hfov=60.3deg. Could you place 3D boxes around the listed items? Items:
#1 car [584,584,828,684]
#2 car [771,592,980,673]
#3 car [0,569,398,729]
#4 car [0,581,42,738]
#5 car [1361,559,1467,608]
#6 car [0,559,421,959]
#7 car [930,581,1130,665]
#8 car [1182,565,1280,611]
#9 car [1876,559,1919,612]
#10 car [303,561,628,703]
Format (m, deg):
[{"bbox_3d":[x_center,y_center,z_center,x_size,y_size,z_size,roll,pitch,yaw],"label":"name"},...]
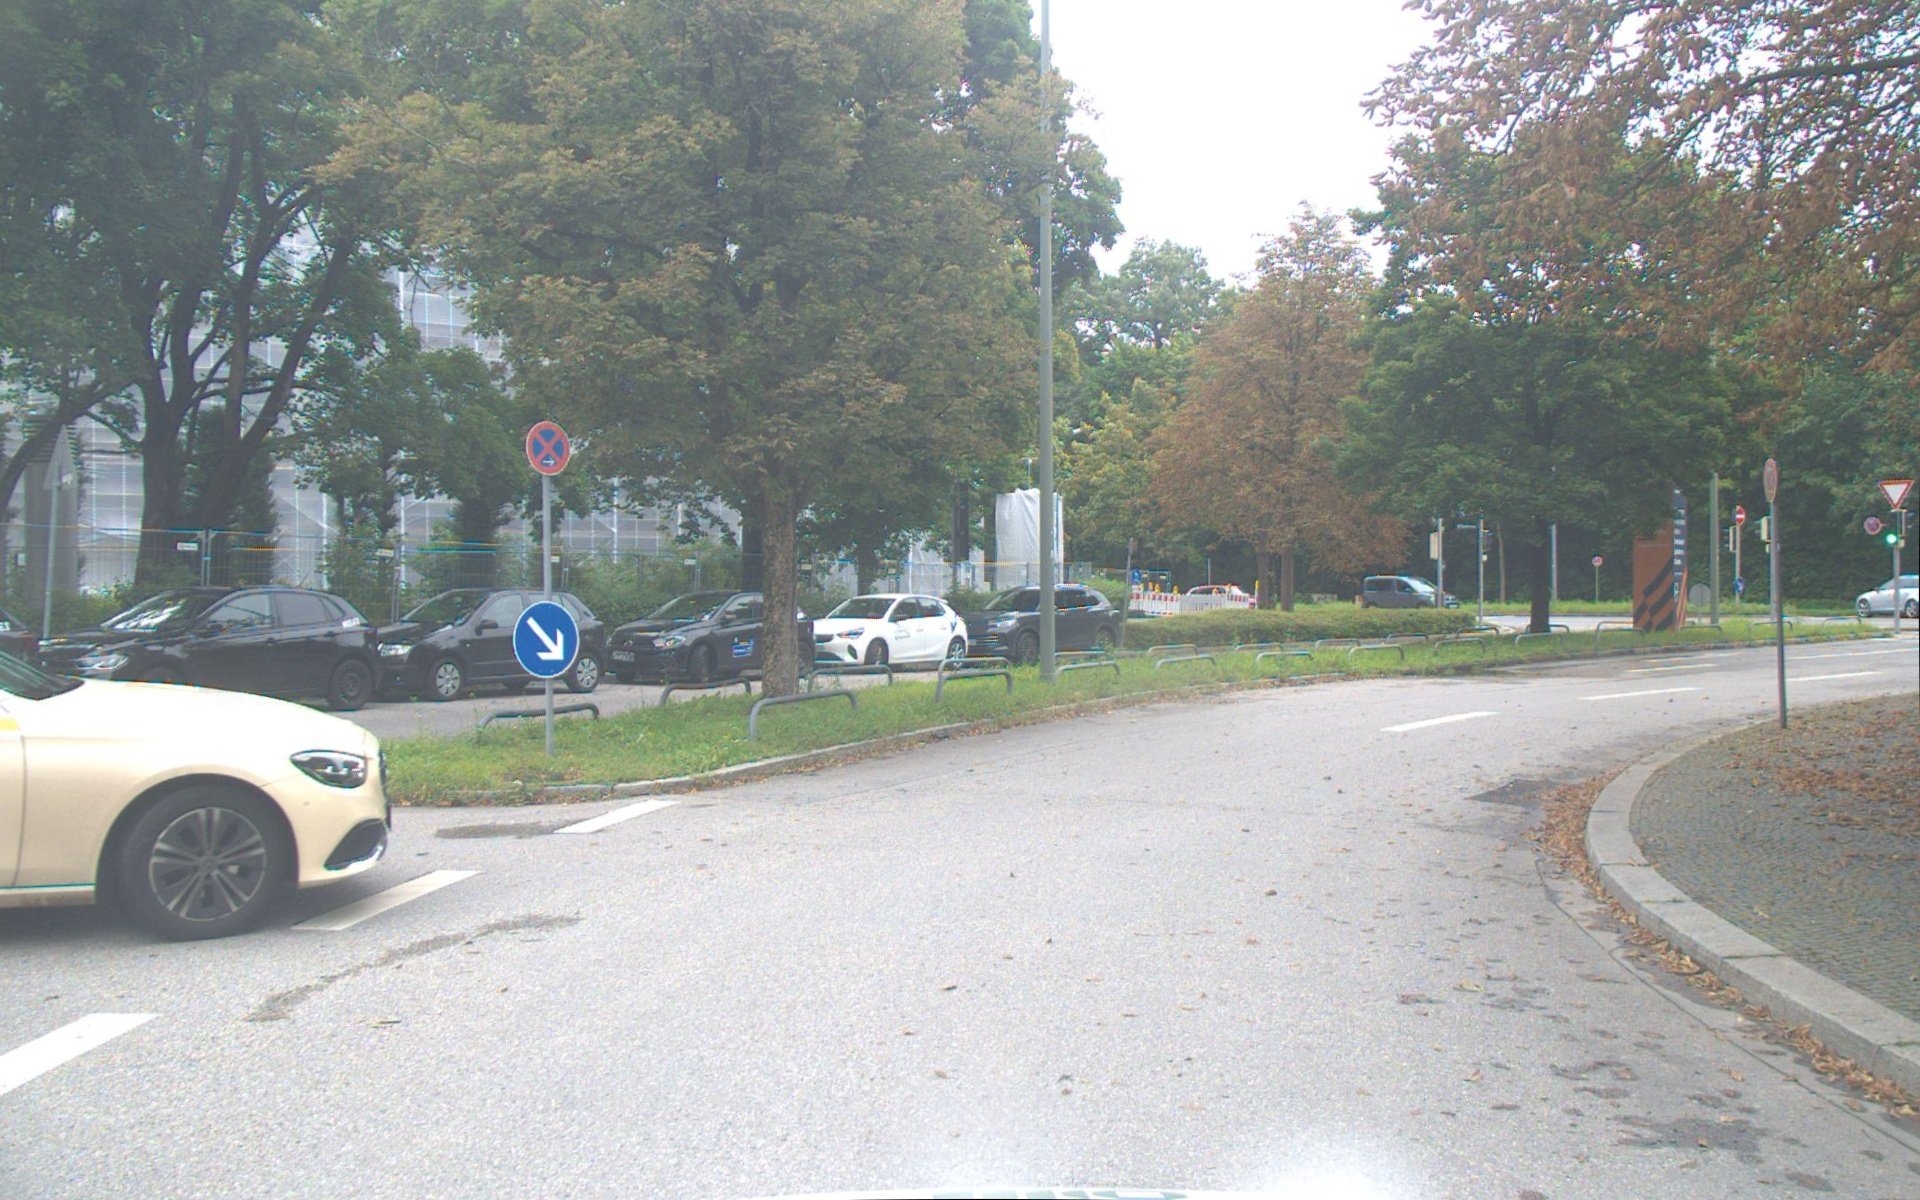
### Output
[{"bbox_3d":[-4.017,0.506,26.743,1.800,1.486,3.998,-1,0,30],"label":"car"},{"bbox_3d":[-1.493,0.569,30.824,1.764,1.408,4.206,-1,0,33],"label":"car"},{"bbox_3d":[-8.543,0.477,18.499,1.957,1.568,3.992,0,0,30],"label":"car"},{"bbox_3d":[-10.670,0.543,14.624,1.957,1.457,4.034,2,1,31],"label":"car"},{"bbox_3d":[19.236,-0.694,70.173,1.981,2.049,3.942,0,0,-40],"label":"car"},{"bbox_3d":[-4.874,0.623,7.032,4.774,1.572,1.880,0,0,-24],"label":"car"},{"bbox_3d":[1.516,0.503,34.453,1.858,1.634,4.370,-1,-2,41],"label":"car"},{"bbox_3d":[12.255,-0.543,74.960,1.981,2.049,4.097,0,0,-40],"label":"car"},{"bbox_3d":[33.480,-0.492,56.961,1.951,1.780,4.128,0,0,7],"label":"car"},{"bbox_3d":[-6.600,0.397,22.484,1.957,1.736,3.992,-1,0,30],"label":"car"}]
